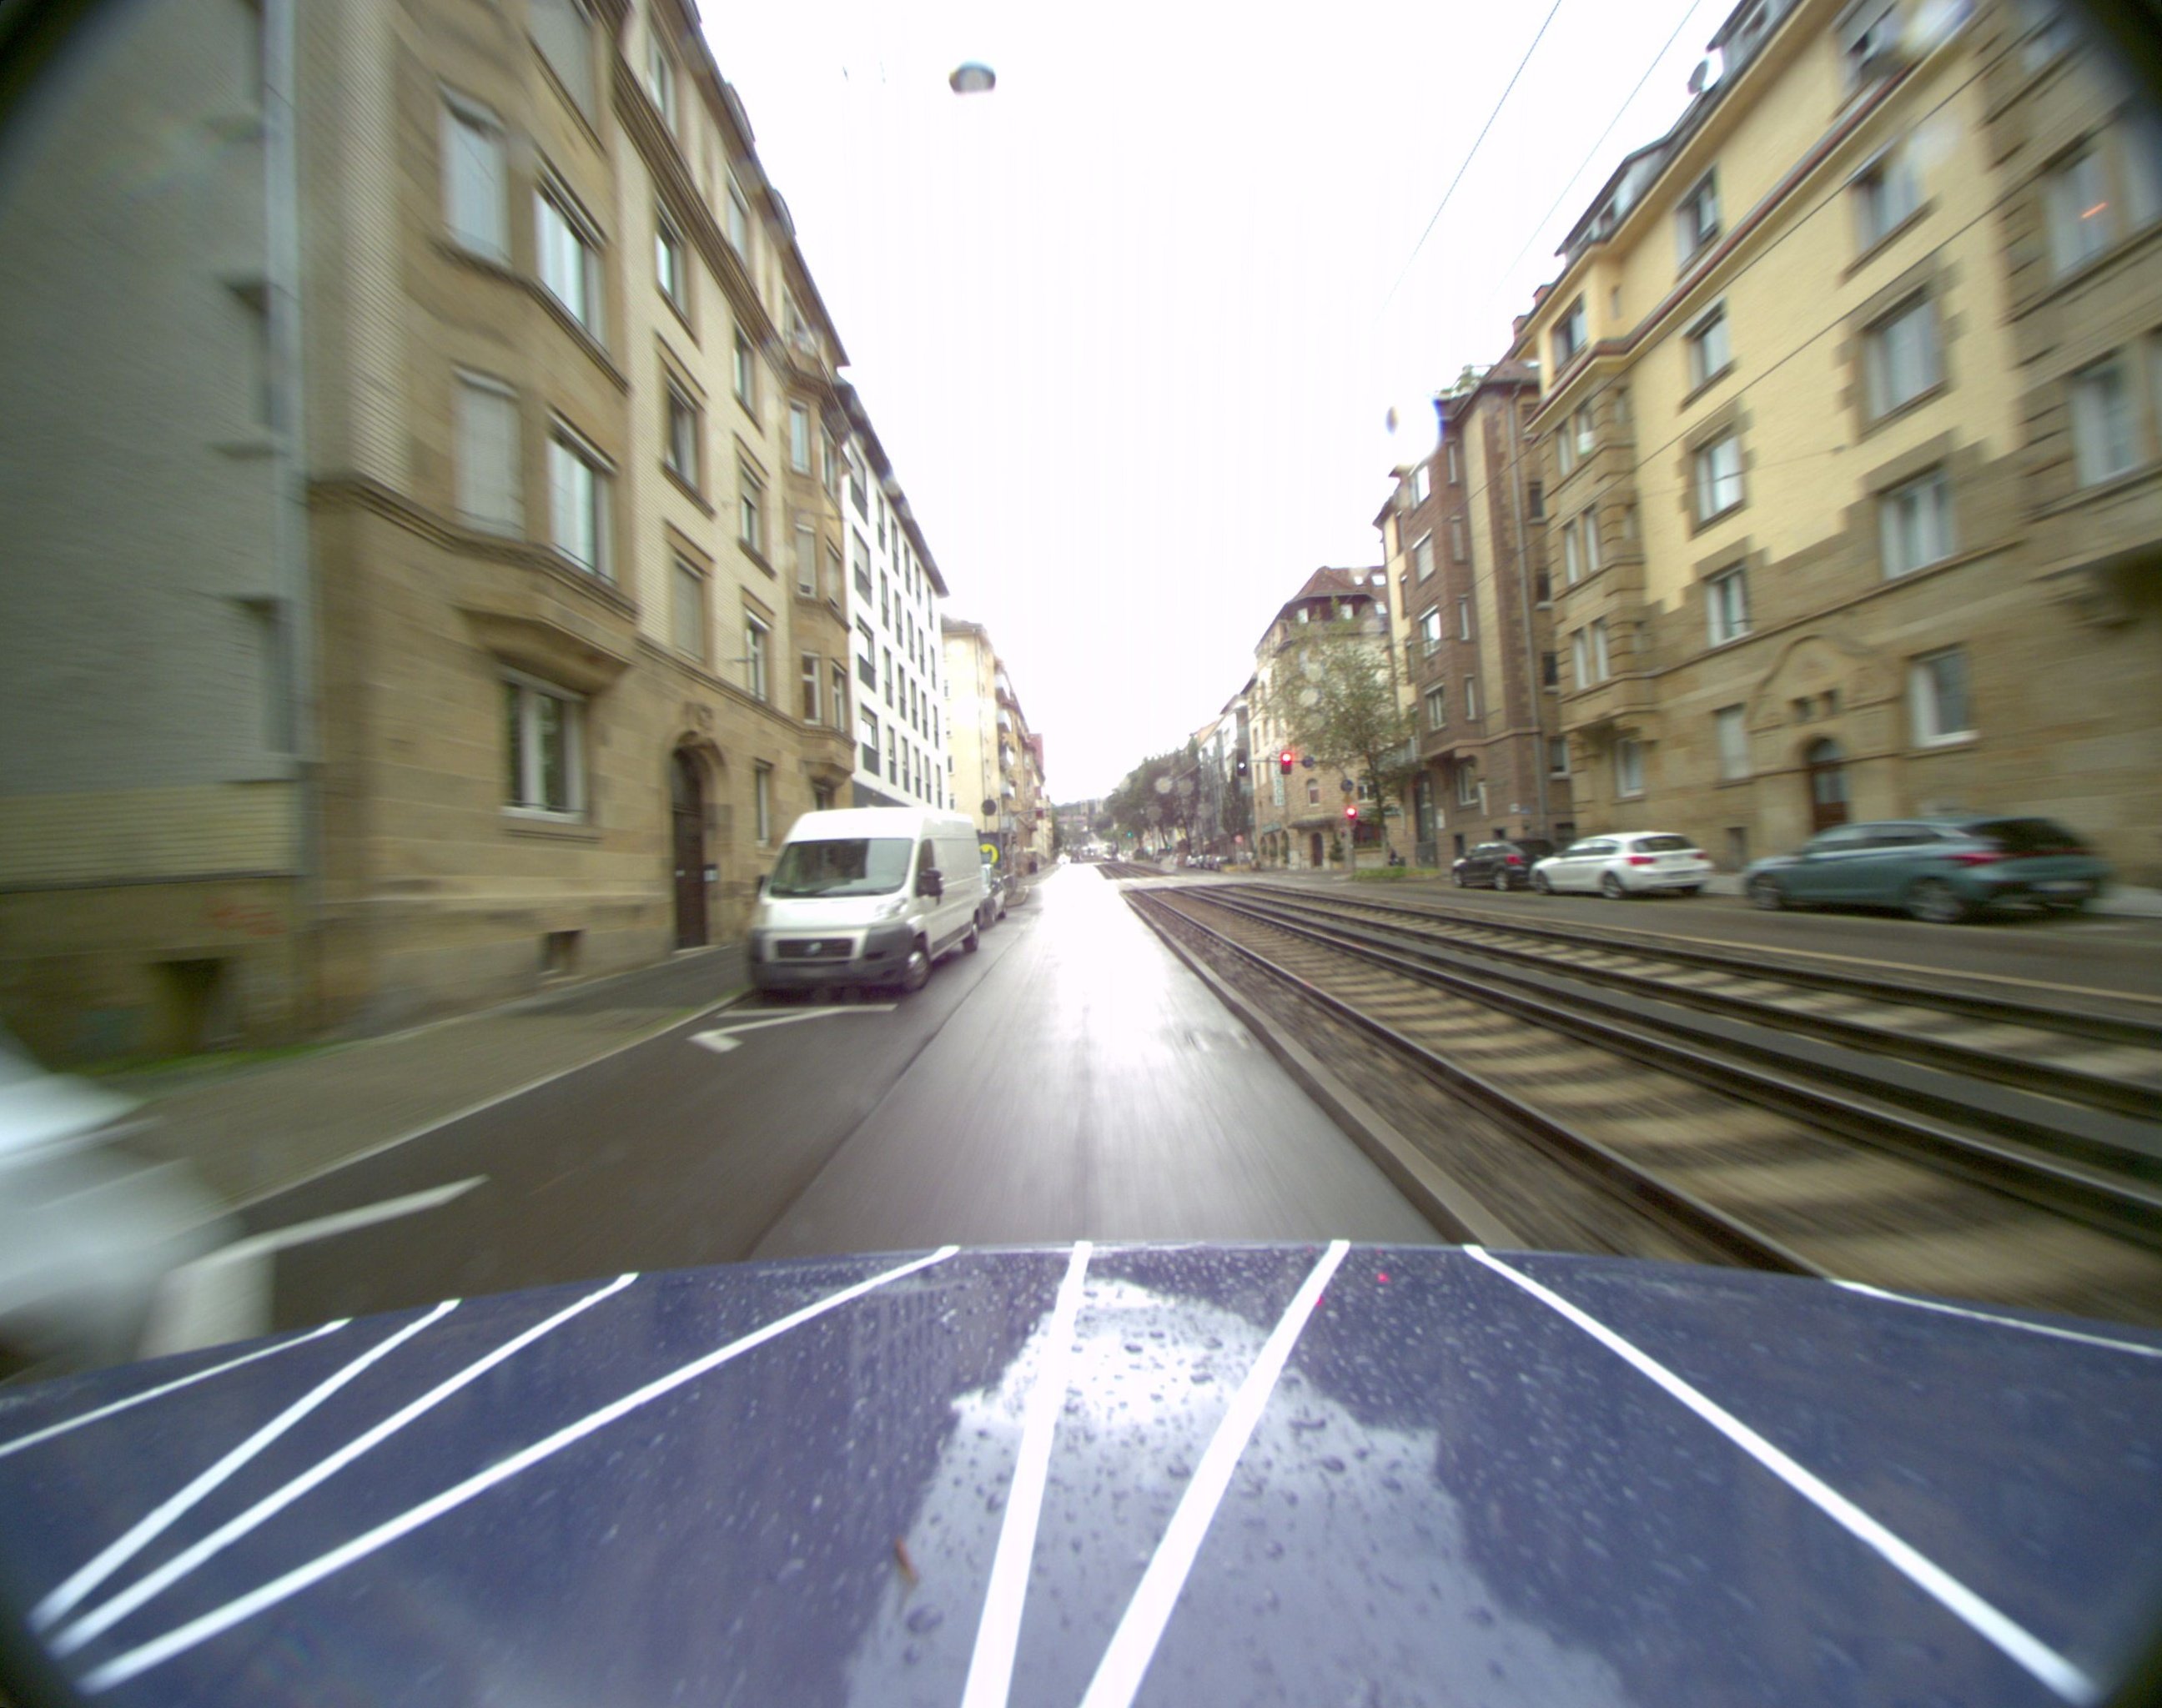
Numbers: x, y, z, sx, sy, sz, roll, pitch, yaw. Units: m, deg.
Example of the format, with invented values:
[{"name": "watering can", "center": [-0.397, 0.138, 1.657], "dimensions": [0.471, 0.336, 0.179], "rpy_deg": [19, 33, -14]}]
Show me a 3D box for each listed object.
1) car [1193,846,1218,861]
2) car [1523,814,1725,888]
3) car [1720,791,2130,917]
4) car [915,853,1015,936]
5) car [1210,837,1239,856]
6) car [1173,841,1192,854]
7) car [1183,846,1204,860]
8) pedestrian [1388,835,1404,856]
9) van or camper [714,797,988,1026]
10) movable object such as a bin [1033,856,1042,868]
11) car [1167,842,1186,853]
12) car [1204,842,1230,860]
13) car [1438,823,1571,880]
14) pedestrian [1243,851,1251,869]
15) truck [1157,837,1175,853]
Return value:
[{"name": "car", "center": [12.814, -0.044, 78.331], "dimensions": [1.805, 1.446, 4.430], "rpy_deg": [-3, 0, 0]}, {"name": "car", "center": [12.269, -0.084, 17.559], "dimensions": [1.671, 1.417, 4.262], "rpy_deg": [-3, 1, 2]}, {"name": "car", "center": [12.217, -0.021, 11.506], "dimensions": [1.565, 1.429, 4.145], "rpy_deg": [-5, 1, 1]}, {"name": "car", "center": [-2.914, 0.946, 20.028], "dimensions": [1.773, 1.797, 4.482], "rpy_deg": [-4, 0, 1]}, {"name": "car", "center": [12.924, -0.705, 68.714], "dimensions": [1.769, 1.543, 3.894], "rpy_deg": [-3, 1, 0]}, {"name": "car", "center": [13.147, -0.879, 98.568], "dimensions": [1.781, 1.560, 4.158], "rpy_deg": [-3, 1, 0]}, {"name": "car", "center": [12.889, -0.145, 87.145], "dimensions": [1.706, 1.328, 4.129], "rpy_deg": [-6, 1, 1]}, {"name": "pedestrian", "center": [22.025, -0.604, 53.135], "dimensions": [0.819, 1.407, 0.721], "rpy_deg": [-3, 0, 4]}, {"name": "van or camper", "center": [-2.933, 0.601, 11.532], "dimensions": [2.069, 2.455, 6.118], "rpy_deg": [-3, 1, 1]}, {"name": "movable object such as a bin", "center": [-5.196, 0.933, 90.407], "dimensions": [1.011, 1.443, 1.393], "rpy_deg": [-1, 1, 1]}, {"name": "car", "center": [13.280, -0.926, 105.789], "dimensions": [1.911, 1.432, 4.468], "rpy_deg": [-3, 1, 0]}, {"name": "car", "center": [13.097, -0.303, 73.352], "dimensions": [1.812, 1.490, 3.525], "rpy_deg": [-4, 1, -1]}, {"name": "car", "center": [12.493, -0.102, 22.718], "dimensions": [1.769, 1.477, 3.999], "rpy_deg": [-3, 1, 1]}, {"name": "pedestrian", "center": [15.138, 0.520, 69.262], "dimensions": [0.518, 1.561, 0.643], "rpy_deg": [-2, 2, 4]}, {"name": "truck", "center": [13.358, -1.471, 119.956], "dimensions": [2.197, 2.333, 6.351], "rpy_deg": [-3, 2, 2]}]
